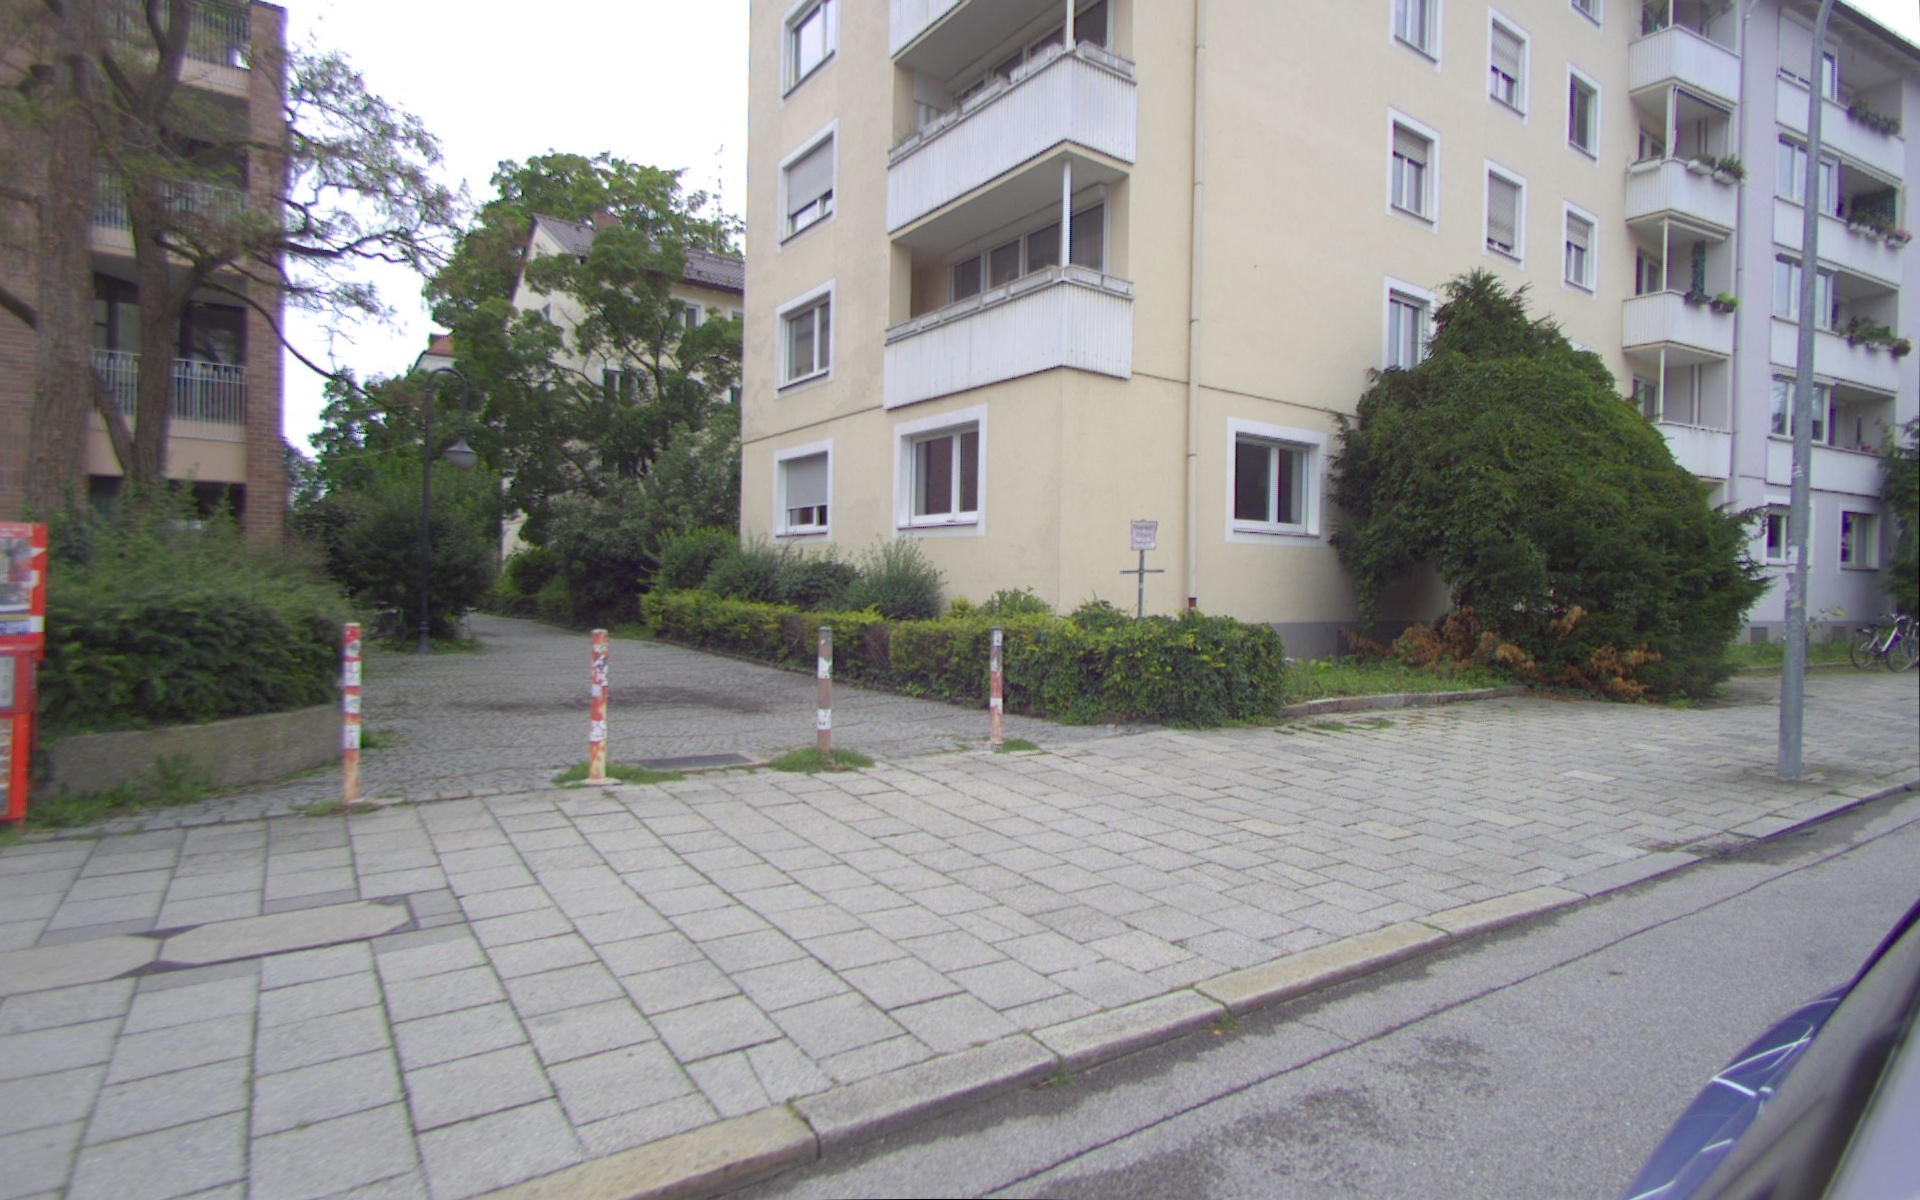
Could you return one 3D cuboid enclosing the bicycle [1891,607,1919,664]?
[{"bbox_3d":[20.093,0.728,21.006,1.904,1.131,0.469,0,2,-27],"label":"bicycle"}]

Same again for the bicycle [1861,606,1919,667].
[{"bbox_3d":[18.659,0.714,19.858,1.903,1.131,0.470,1,1,-15],"label":"bicycle"}]
